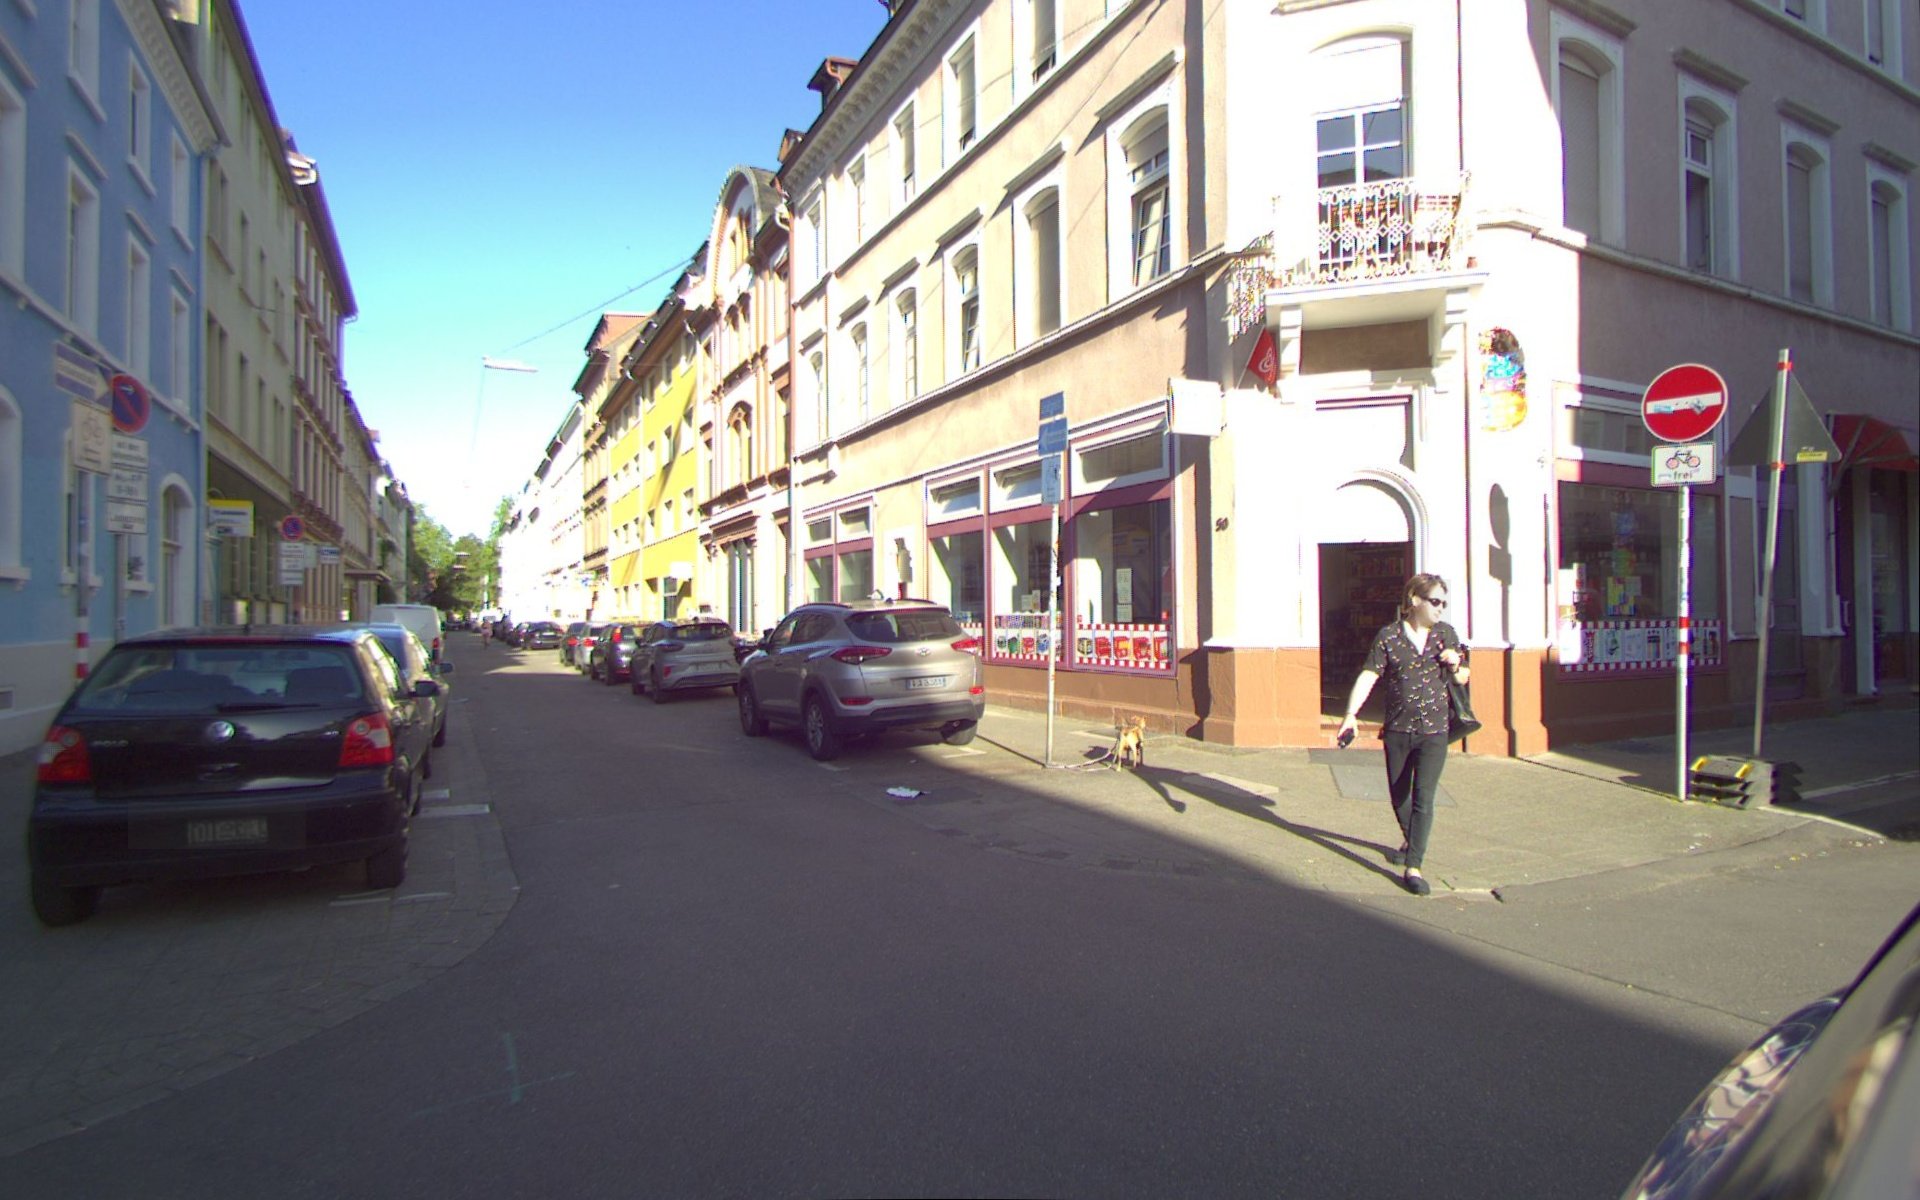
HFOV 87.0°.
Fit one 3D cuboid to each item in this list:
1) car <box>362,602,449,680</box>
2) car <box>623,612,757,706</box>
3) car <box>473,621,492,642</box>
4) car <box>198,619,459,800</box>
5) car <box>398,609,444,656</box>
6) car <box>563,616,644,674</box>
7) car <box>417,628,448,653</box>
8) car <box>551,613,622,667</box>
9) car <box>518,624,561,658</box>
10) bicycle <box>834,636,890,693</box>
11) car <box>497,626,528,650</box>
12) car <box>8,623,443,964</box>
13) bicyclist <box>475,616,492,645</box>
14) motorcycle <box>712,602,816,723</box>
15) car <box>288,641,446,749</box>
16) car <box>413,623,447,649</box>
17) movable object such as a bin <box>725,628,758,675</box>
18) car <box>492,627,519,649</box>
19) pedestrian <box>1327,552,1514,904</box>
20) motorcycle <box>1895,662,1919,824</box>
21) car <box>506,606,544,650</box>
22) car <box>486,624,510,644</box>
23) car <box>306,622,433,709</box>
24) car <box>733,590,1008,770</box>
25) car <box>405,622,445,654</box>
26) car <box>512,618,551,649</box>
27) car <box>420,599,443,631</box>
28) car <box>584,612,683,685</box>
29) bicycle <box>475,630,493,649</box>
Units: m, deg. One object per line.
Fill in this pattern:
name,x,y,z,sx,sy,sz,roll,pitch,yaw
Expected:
car,-15.224,1.085,27.984,1.798,1.971,4.559,1,-2,-25
car,-5.395,1.072,19.871,1.716,1.531,3.921,-4,0,-26
car,-52.931,3.457,112.079,1.716,2.116,3.921,-4,0,-26
car,-6.262,0.949,10.542,1.720,1.453,4.491,2,-2,-25
car,-25.800,1.539,48.544,1.716,2.079,3.921,-4,0,-26
car,-10.561,1.288,29.829,1.716,1.471,3.921,-4,0,-26
car,-36.713,2.773,70.493,1.716,1.531,3.921,-4,0,-26
car,-12.382,1.285,33.453,1.716,1.531,3.921,-4,0,-26
car,-21.411,2.060,51.435,1.716,1.531,3.921,-4,0,-26
bicycle,-1.908,1.232,19.610,0.446,1.022,1.646,0,-1,-29
car,-31.463,2.660,71.078,1.716,1.531,3.921,-4,0,-26
car,-4.293,0.892,6.545,1.642,1.472,3.885,0,-1,-27
bicyclist,-25.267,1.615,53.683,0.749,1.490,1.005,0,-2,-27
motorcycle,-2.888,0.896,15.211,0.837,1.670,2.330,-2,-2,7
car,-8.626,1.283,15.015,1.721,1.244,4.170,-1,-1,-26
car,-33.820,2.275,64.640,1.716,1.531,3.921,-4,0,-26
movable object such as a bin,-5.490,1.285,25.401,0.653,1.147,0.673,0,-2,-26
car,-34.907,2.894,77.673,1.716,1.531,3.921,-4,0,-26
pedestrian,2.584,0.639,5.802,0.817,1.815,0.985,1,1,17
motorcycle,7.603,0.970,7.011,1.954,1.100,0.722,-1,-1,-16
car,-26.637,1.691,61.888,1.808,2.462,3.921,-4,0,-26
car,-39.982,2.946,87.485,1.716,1.531,3.921,-4,0,-26
car,-11.339,1.200,19.683,1.720,1.496,3.987,2,-2,-25
car,-1.249,0.806,11.958,1.818,1.653,4.077,-2,0,-26
car,-28.601,1.998,54.202,1.716,1.531,3.921,-4,0,-26
car,-23.836,1.835,56.205,1.716,1.531,3.921,-4,0,-26
car,-51.412,1.507,98.507,1.716,2.952,4.198,-4,0,-26
car,-8.157,1.145,25.065,1.716,1.531,3.921,-4,0,-26
bicycle,-25.261,2.091,53.664,0.798,0.914,2.171,0,-2,-27
